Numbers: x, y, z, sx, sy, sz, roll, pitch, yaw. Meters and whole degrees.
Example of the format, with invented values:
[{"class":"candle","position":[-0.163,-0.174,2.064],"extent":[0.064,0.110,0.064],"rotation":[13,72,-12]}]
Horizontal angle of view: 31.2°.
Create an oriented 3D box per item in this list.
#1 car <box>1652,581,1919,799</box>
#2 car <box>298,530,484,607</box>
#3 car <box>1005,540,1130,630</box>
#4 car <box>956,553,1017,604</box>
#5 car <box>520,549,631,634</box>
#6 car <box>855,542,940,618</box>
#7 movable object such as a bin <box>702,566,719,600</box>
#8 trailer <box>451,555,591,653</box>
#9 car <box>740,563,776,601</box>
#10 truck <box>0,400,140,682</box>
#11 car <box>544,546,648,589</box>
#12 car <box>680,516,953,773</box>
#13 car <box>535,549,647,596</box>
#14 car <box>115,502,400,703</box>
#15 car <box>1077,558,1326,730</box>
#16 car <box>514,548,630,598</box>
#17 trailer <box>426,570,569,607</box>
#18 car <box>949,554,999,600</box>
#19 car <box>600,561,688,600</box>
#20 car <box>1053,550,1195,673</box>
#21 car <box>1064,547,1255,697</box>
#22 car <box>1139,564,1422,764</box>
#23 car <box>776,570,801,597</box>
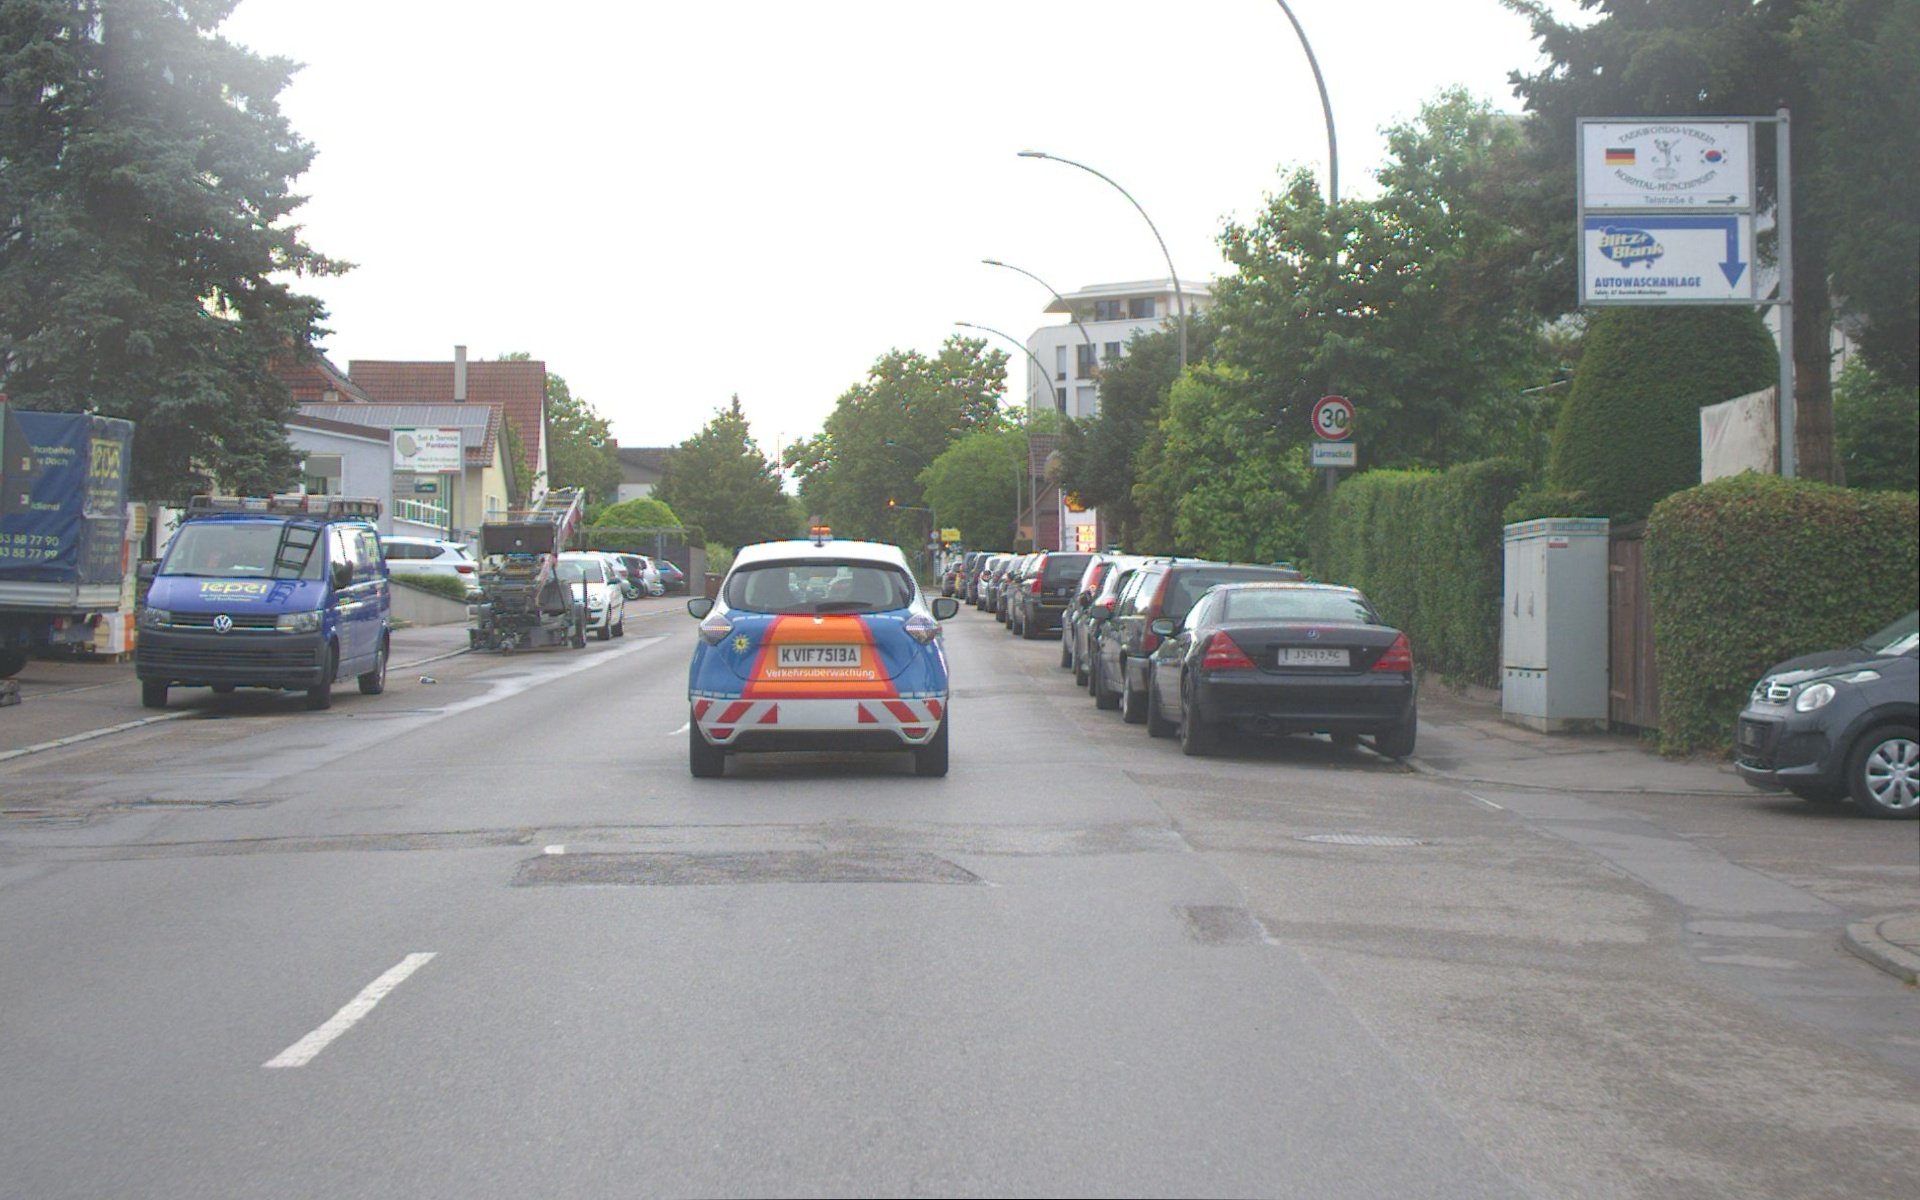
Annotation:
[{"class":"car","position":[6.532,0.566,21.382],"extent":[3.986,1.262,1.951],"rotation":[2,0,-2]},{"class":"car","position":[-12.301,-0.679,74.426],"extent":[3.759,1.562,1.655],"rotation":[2,0,-2]},{"class":"car","position":[1.788,-0.263,58.587],"extent":[1.711,1.433,4.527],"rotation":[2,0,-3]},{"class":"car","position":[0.812,-0.656,107.207],"extent":[1.650,1.516,4.000],"rotation":[2,0,-3]},{"class":"car","position":[-6.810,-0.153,61.175],"extent":[1.557,1.428,4.000],"rotation":[2,0,-1]},{"class":"car","position":[-1.348,-0.418,72.613],"extent":[1.650,1.516,4.000],"rotation":[2,0,-3]},{"class":"movable object such as a bin","position":[-9.055,-0.613,124.641],"extent":[0.579,1.200,0.318],"rotation":[1,0,-1]},{"class":"trailer","position":[-6.793,0.024,53.627],"extent":[1.717,1.256,5.245],"rotation":[2,2,-3]},{"class":"car","position":[-8.193,-0.745,139.567],"extent":[1.386,1.478,3.784],"rotation":[0,1,-3]},{"class":"truck","position":[-12.561,-0.725,38.887],"extent":[5.911,3.063,2.449],"rotation":[2,0,0]},{"class":"car","position":[-12.940,-1.148,122.390],"extent":[3.653,1.478,1.480],"rotation":[-1,1,-5]},{"class":"car","position":[-0.964,0.274,23.687],"extent":[1.731,1.625,3.495],"rotation":[0,0,-2]},{"class":"car","position":[-12.715,-0.945,118.679],"extent":[3.759,1.478,1.655],"rotation":[2,0,-5]},{"class":"car","position":[-7.215,-0.022,35.841],"extent":[1.993,1.940,5.366],"rotation":[0,1,-1]},{"class":"car","position":[2.125,0.358,31.458],"extent":[1.656,1.414,4.777],"rotation":[2,0,-3]},{"class":"car","position":[-12.879,-0.893,114.315],"extent":[3.759,1.571,1.655],"rotation":[2,0,-5]},{"class":"trailer","position":[-13.597,-0.343,101.258],"extent":[4.022,0.991,1.655],"rotation":[2,0,-2]},{"class":"car","position":[0.501,-0.855,128.979],"extent":[1.650,1.666,4.000],"rotation":[2,0,-3]},{"class":"car","position":[-11.995,-0.740,130.598],"extent":[3.281,1.443,1.480],"rotation":[-1,1,-5]},{"class":"car","position":[2.012,0.109,43.028],"extent":[1.487,1.434,3.807],"rotation":[2,1,-1]},{"class":"car","position":[2.061,0.190,36.402],"extent":[1.657,1.444,3.830],"rotation":[2,1,-2]},{"class":"car","position":[2.414,0.441,26.776],"extent":[1.589,1.336,4.093],"rotation":[3,1,-2]},{"class":"car","position":[-7.870,-0.759,157.876],"extent":[1.151,1.228,3.373],"rotation":[0,1,-3]}]
